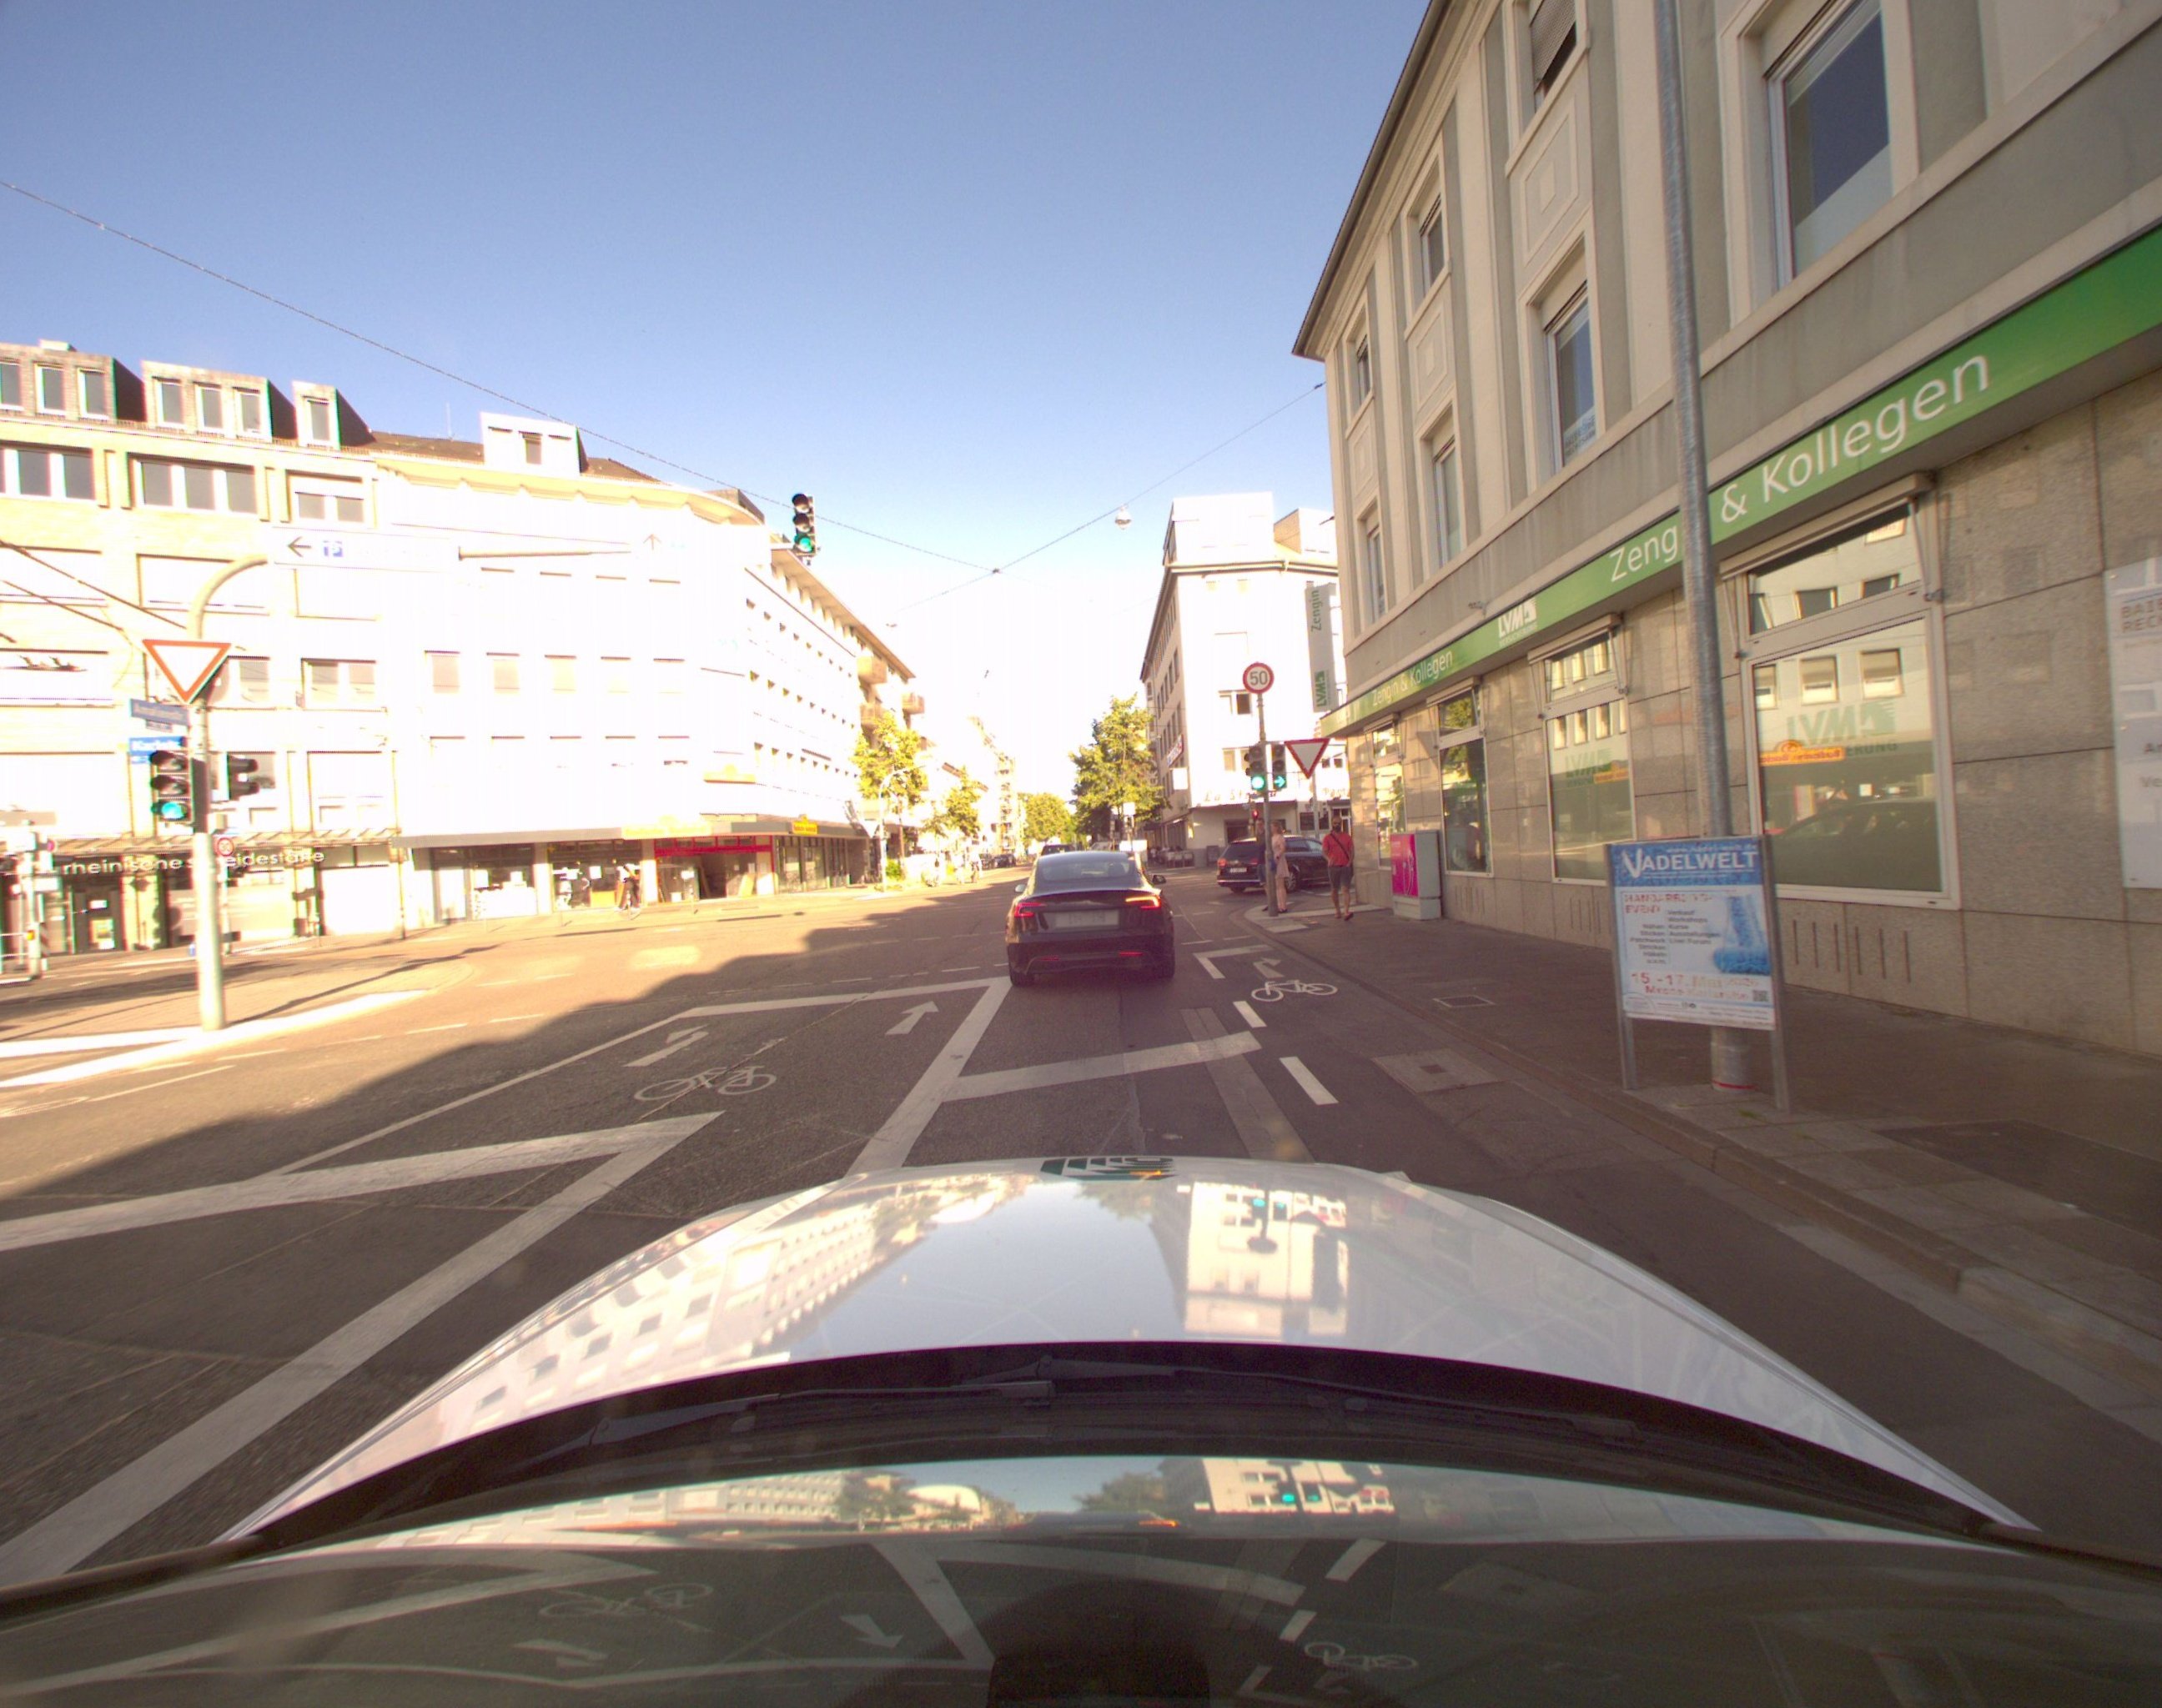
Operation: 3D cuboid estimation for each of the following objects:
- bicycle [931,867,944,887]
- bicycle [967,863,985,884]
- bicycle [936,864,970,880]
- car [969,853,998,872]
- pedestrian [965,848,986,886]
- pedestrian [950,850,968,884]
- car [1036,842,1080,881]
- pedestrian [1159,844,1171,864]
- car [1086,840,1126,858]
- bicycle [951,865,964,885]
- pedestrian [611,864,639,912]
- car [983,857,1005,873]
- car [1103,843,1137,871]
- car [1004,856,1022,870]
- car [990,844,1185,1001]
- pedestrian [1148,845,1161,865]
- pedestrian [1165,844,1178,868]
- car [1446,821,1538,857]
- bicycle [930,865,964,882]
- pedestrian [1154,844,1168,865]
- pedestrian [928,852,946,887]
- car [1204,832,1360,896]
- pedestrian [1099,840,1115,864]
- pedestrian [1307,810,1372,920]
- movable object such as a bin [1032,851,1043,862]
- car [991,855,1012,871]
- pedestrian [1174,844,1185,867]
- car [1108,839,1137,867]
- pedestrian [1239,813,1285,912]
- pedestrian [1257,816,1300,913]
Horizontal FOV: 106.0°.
[{"bbox_3d":[-7.324,1.177,41.536,0.480,0.955,1.449,-4,0,-13],"label":"bicycle"},{"bbox_3d":[-5.461,0.995,42.314,0.759,1.007,1.719,-7,1,-10],"label":"bicycle"},{"bbox_3d":[-9.212,1.305,58.688,2.397,1.006,0.653,-4,0,-10],"label":"bicycle"},{"bbox_3d":[-9.014,0.758,75.593,1.985,1.598,4.003,-3,0,3],"label":"car"},{"bbox_3d":[-5.490,0.672,42.359,0.779,1.866,0.997,-6,1,-13],"label":"pedestrian"},{"bbox_3d":[-6.358,0.651,42.353,0.779,1.728,0.557,-3,0,-14],"label":"pedestrian"},{"bbox_3d":[-1.088,0.334,41.063,1.897,1.733,4.289,-3,0,1],"label":"car"},{"bbox_3d":[5.917,0.000,57.373,0.728,1.360,0.959,-4,0,1],"label":"pedestrian"},{"bbox_3d":[3.475,-0.736,114.046,5.375,2.145,2.000,-4,0,-1],"label":"car"},{"bbox_3d":[-6.414,1.075,42.215,0.552,0.968,1.788,-4,0,-10],"label":"bicycle"},{"bbox_3d":[-16.929,1.250,30.246,0.557,1.709,0.712,-4,0,-2],"label":"pedestrian"},{"bbox_3d":[-8.874,1.116,83.313,1.781,1.402,3.905,-3,0,-1],"label":"car"},{"bbox_3d":[2.447,0.166,52.313,1.994,1.636,4.289,-3,0,1],"label":"car"},{"bbox_3d":[-7.763,1.010,93.249,1.781,1.402,3.905,-3,0,-1],"label":"car"},{"bbox_3d":[0.148,0.666,10.343,1.862,1.427,4.367,-4,1,2],"label":"car"},{"bbox_3d":[5.136,0.055,57.220,0.707,1.347,1.059,-4,0,-2],"label":"pedestrian"},{"bbox_3d":[5.166,0.124,46.611,0.584,1.313,0.560,-4,0,1],"label":"pedestrian"},{"bbox_3d":[20.284,-0.739,40.217,4.143,1.446,1.705,-4,-2,-23],"label":"car"},{"bbox_3d":[-9.168,1.341,55.802,2.221,0.958,0.653,-4,0,-12],"label":"bicycle"},{"bbox_3d":[5.514,0.039,56.107,0.728,1.347,1.059,-4,0,-1],"label":"pedestrian"},{"bbox_3d":[-7.294,0.776,41.191,0.791,1.712,0.651,-3,0,-14],"label":"pedestrian"},{"bbox_3d":[5.373,0.231,21.474,4.378,1.418,1.746,-3,0,-41],"label":"car"},{"bbox_3d":[2.224,-0.174,68.785,0.950,1.915,1.110,-4,0,17],"label":"pedestrian"},{"bbox_3d":[4.247,0.174,13.460,0.687,1.703,0.913,-5,0,2],"label":"pedestrian"},{"bbox_3d":[-6.104,0.358,113.799,1.312,1.407,1.064,-4,0,-16],"label":"movable object such as a bin"},{"bbox_3d":[-8.609,0.953,88.404,1.712,1.610,3.597,-4,0,0],"label":"car"},{"bbox_3d":[5.732,0.083,47.386,0.485,1.322,0.655,-4,0,8],"label":"pedestrian"},{"bbox_3d":[2.973,-0.063,58.737,1.897,1.852,4.289,-3,0,1],"label":"car"},{"bbox_3d":[3.520,0.155,15.875,0.637,1.842,0.682,-4,0,0],"label":"pedestrian"},{"bbox_3d":[3.711,0.183,15.330,0.571,1.759,0.649,-3,0,0],"label":"pedestrian"}]
